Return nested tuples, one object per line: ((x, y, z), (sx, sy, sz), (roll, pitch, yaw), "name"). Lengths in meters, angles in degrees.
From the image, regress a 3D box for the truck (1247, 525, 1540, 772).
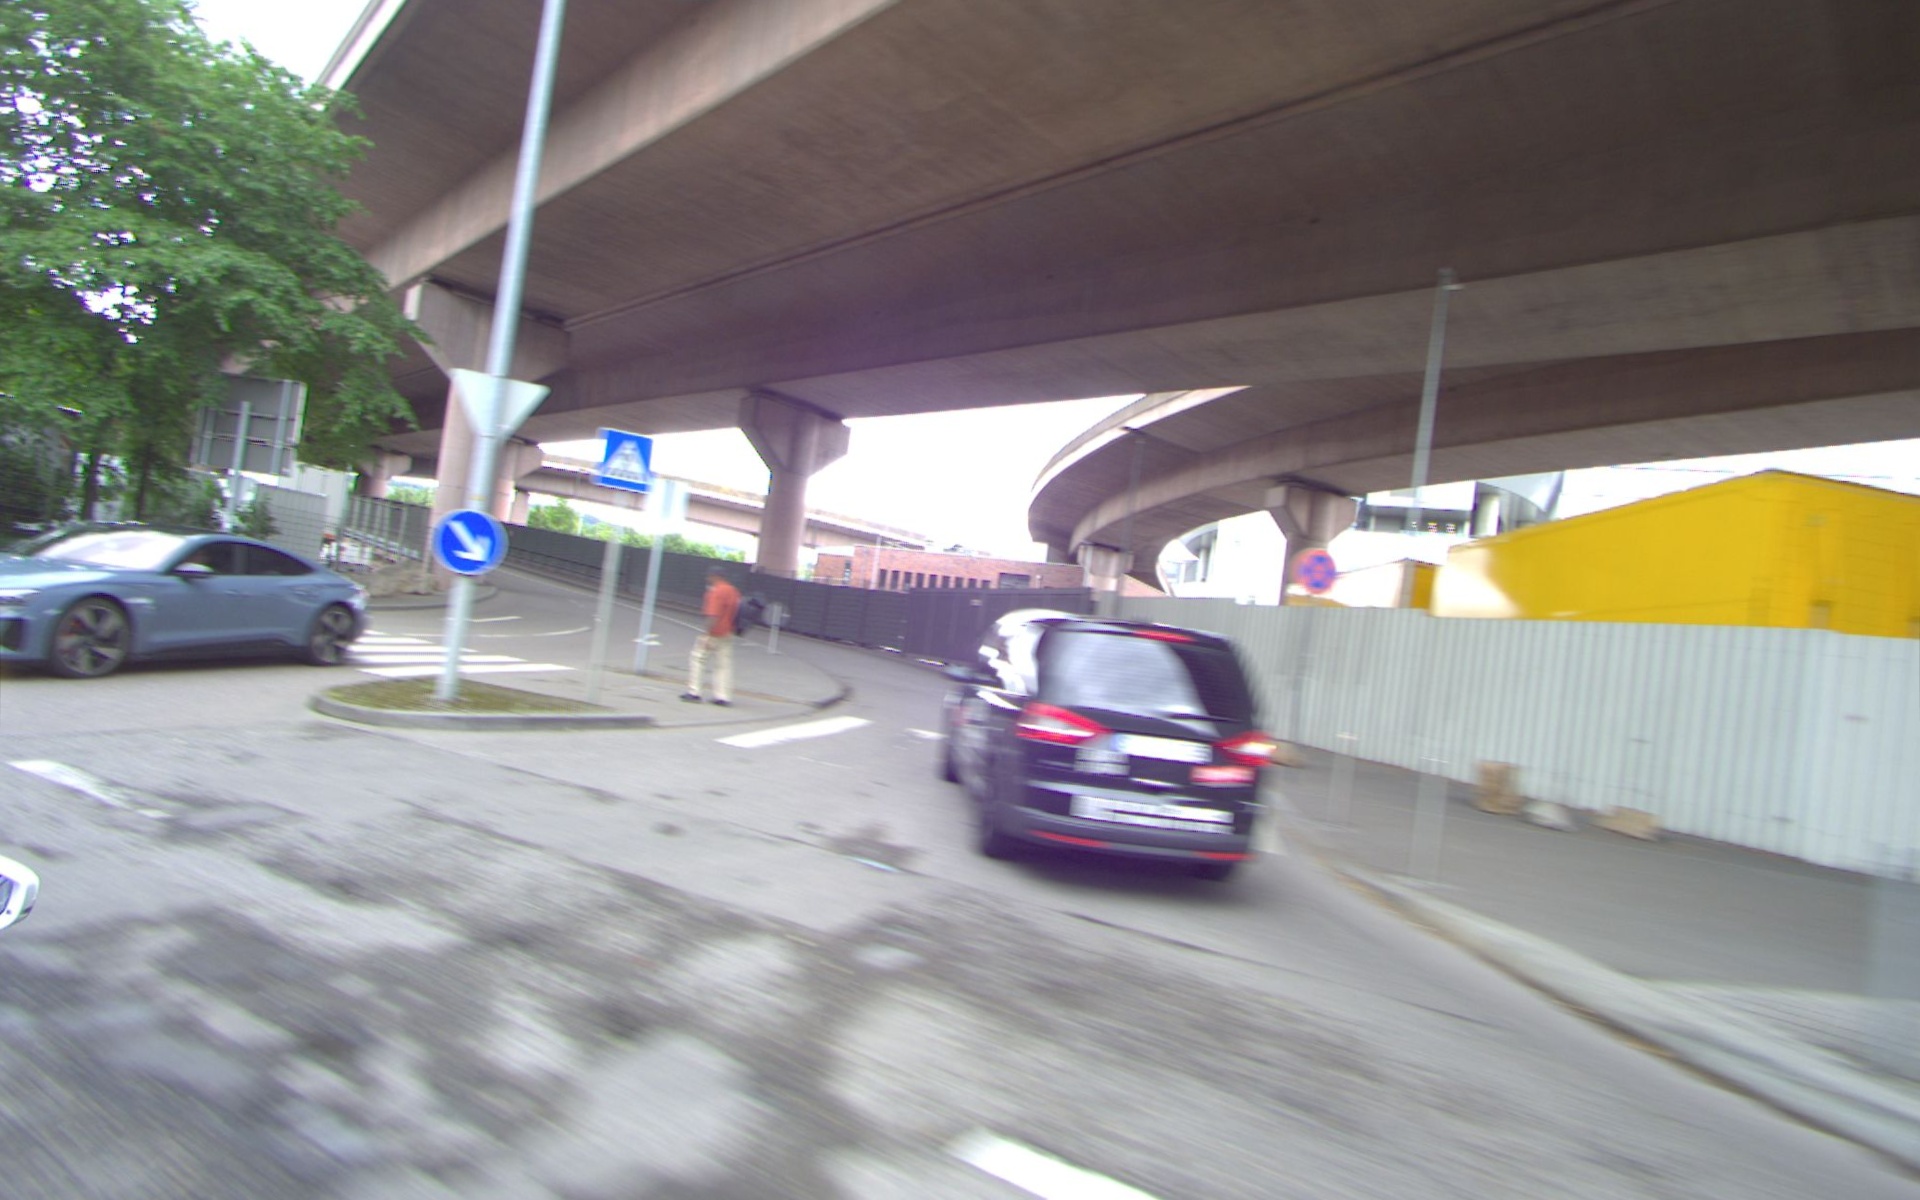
((10.664, 1.257, 26.163), (3.091, 4.957, 8.724), (8, -3, -1), "truck")

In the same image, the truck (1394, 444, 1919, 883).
((10.902, 1.012, 16.432), (3.091, 4.972, 8.724), (8, -3, -1), "truck")

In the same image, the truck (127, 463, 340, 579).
((-24.951, -2.708, 34.542), (6.440, 2.933, 2.924), (8, 0, 25), "truck")

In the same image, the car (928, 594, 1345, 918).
((0.991, 0.980, 8.168), (1.965, 1.699, 4.558), (7, -2, -6), "car")

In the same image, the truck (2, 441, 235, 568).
((-26.285, -2.981, 31.410), (6.440, 2.933, 2.924), (8, 0, 25), "truck")

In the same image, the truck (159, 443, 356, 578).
((-28.593, -3.674, 40.850), (7.910, 4.351, 3.072), (8, 0, 30), "truck")

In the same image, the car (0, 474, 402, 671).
((-8.292, -0.230, 10.167), (2.132, 1.519, 4.937), (7, -2, 5), "car")

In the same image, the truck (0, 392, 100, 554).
((-27.971, -3.833, 27.818), (7.904, 3.914, 3.075), (8, 0, 25), "truck")

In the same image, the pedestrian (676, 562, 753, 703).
((-3.099, 0.419, 12.704), (0.549, 1.696, 0.536), (7, 0, 34), "pedestrian")
